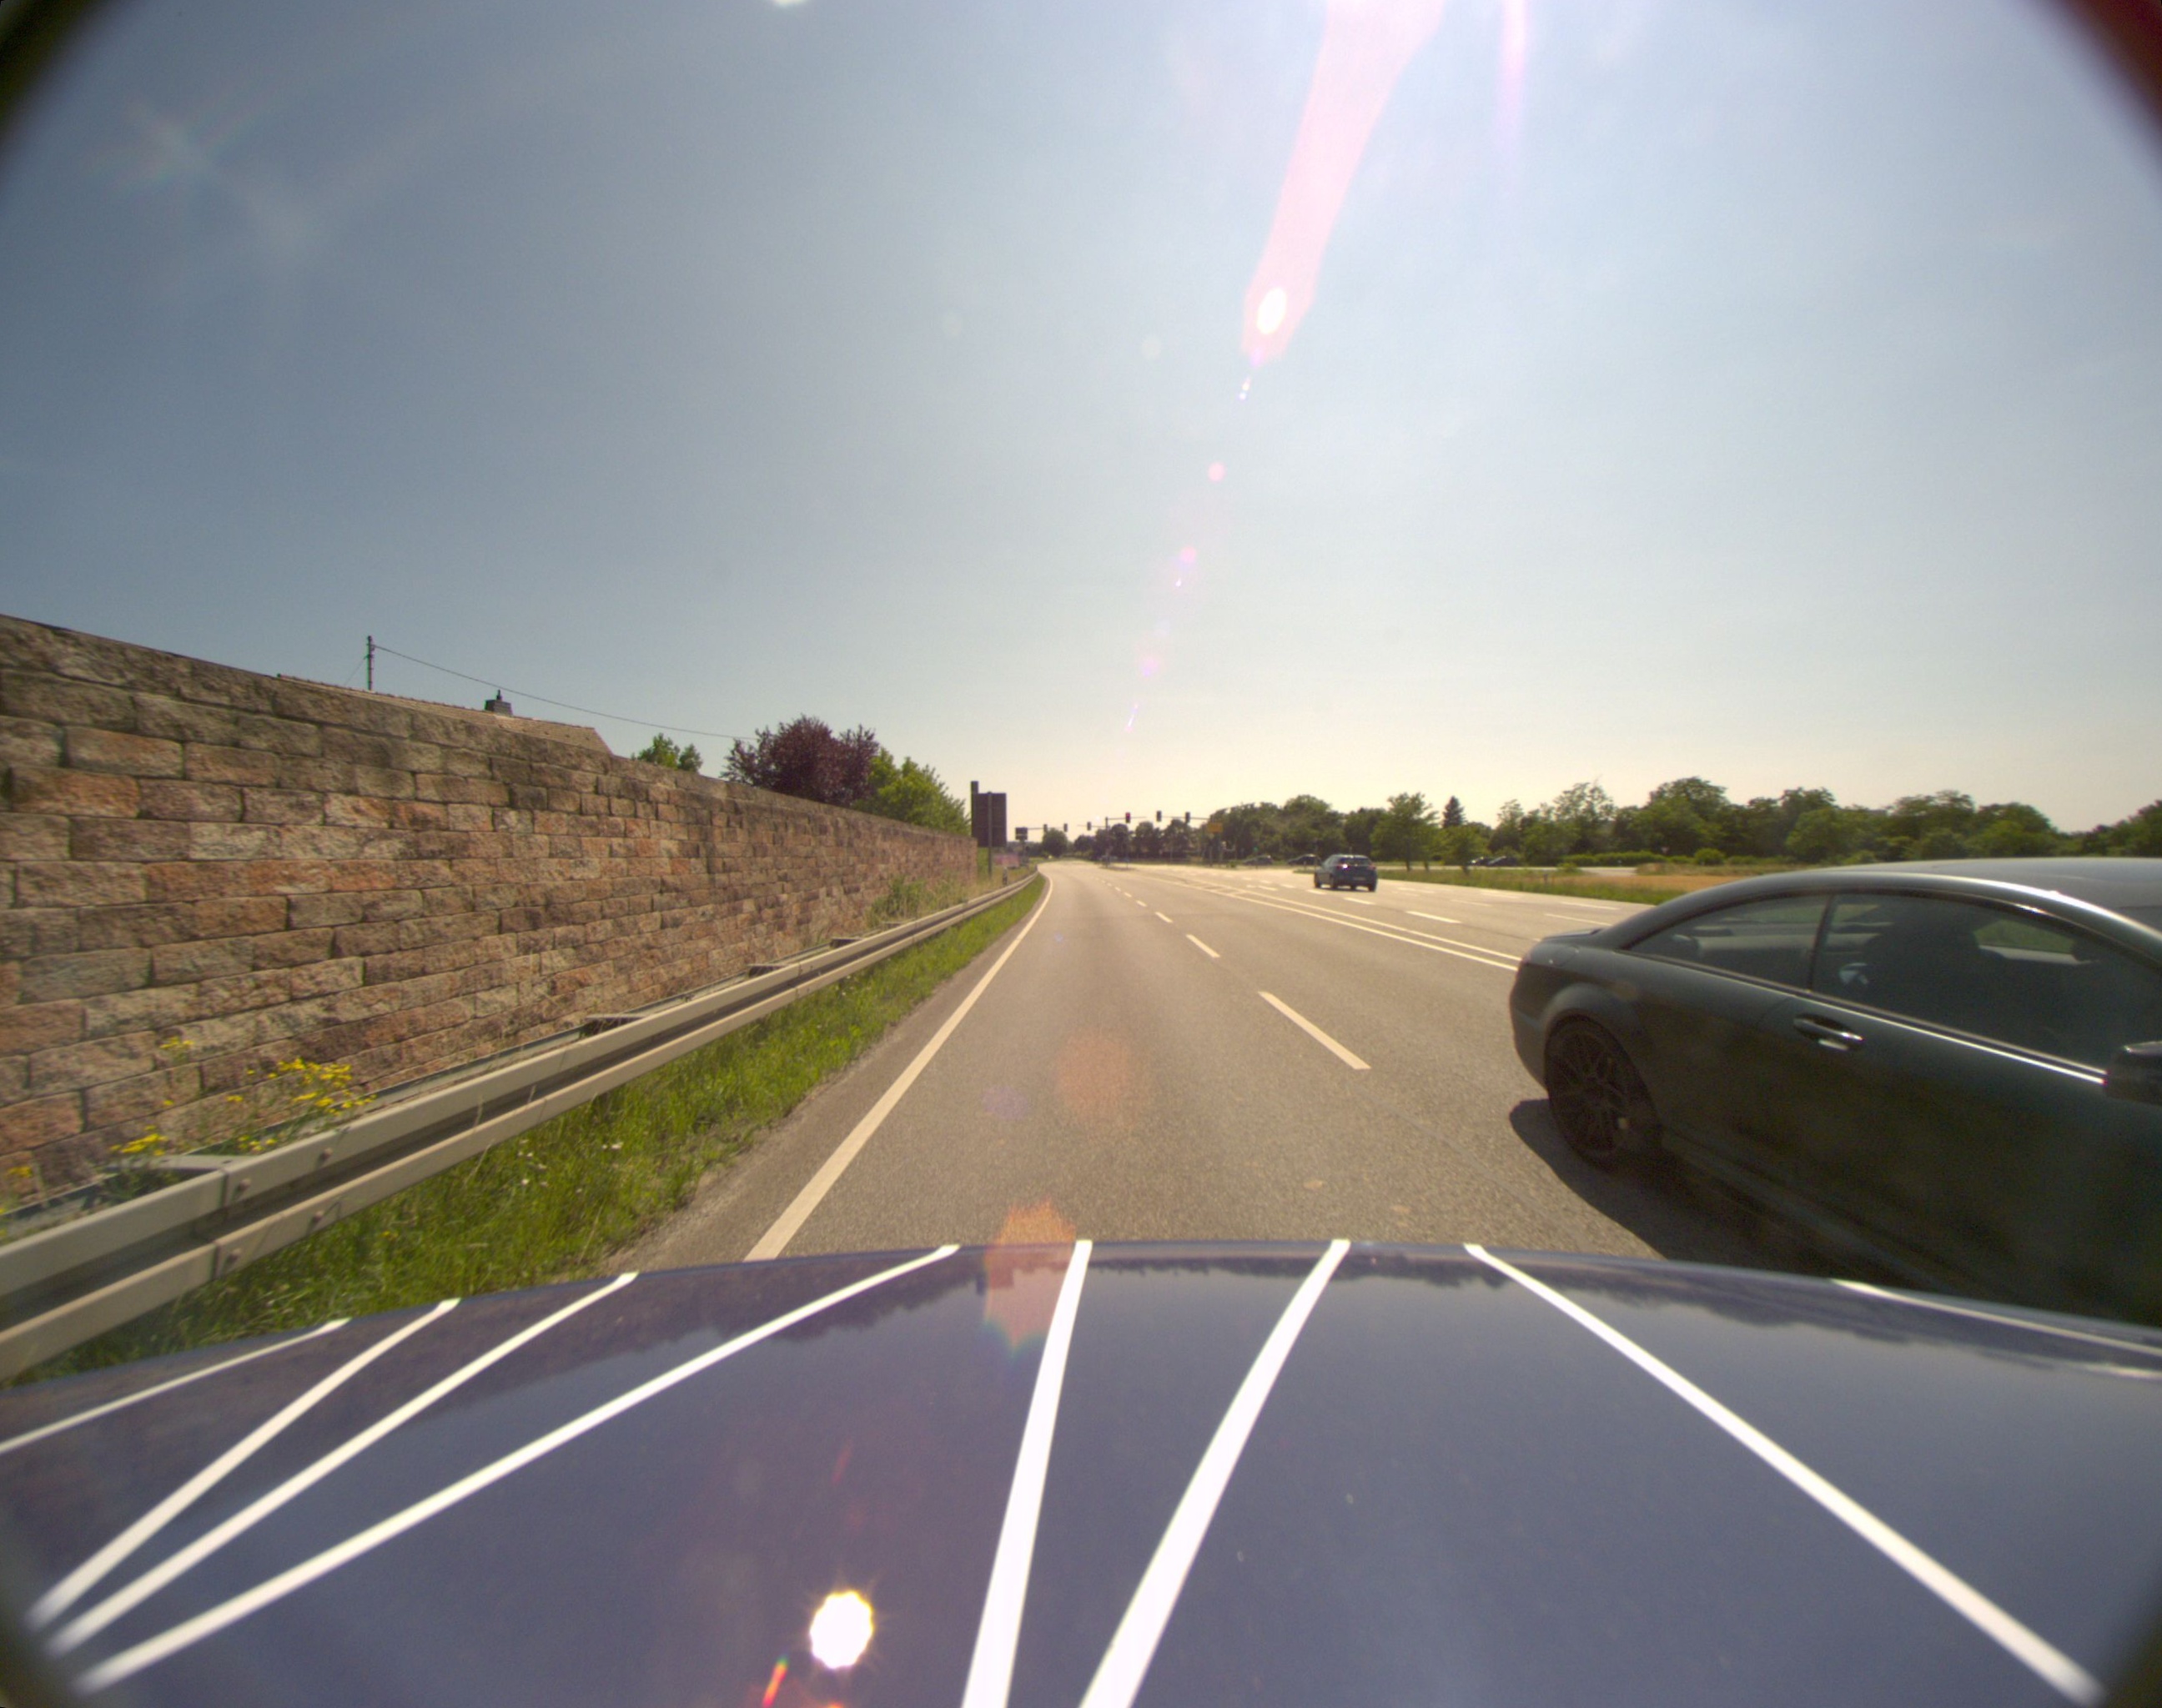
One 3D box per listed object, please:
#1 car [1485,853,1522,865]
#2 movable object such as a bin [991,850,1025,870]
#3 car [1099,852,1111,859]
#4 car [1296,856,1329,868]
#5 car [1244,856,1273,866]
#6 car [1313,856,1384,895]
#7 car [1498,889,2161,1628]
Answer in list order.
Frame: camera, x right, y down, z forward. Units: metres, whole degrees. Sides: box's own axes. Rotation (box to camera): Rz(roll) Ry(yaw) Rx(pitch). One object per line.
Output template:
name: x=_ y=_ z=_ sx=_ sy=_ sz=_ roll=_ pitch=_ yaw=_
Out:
car: x=56.996 y=0.686 z=102.549 sx=3.992 sy=1.565 sz=1.740 roll=-2 pitch=1 yaw=16
movable object such as a bin: x=-8.996 y=0.736 z=93.570 sx=4.106 sy=2.318 sz=1.276 roll=-2 pitch=1 yaw=-7
car: x=5.156 y=0.336 z=161.945 sx=1.836 sy=1.591 sz=4.302 roll=0 pitch=1 yaw=-7
car: x=32.469 y=1.083 z=106.715 sx=4.361 sy=1.585 sz=1.637 roll=1 pitch=0 yaw=13
car: x=25.321 y=1.004 z=108.367 sx=3.874 sy=1.379 sz=1.636 roll=-1 pitch=0 yaw=11
car: x=11.095 y=0.858 z=31.801 sx=1.763 sy=1.449 sz=4.232 roll=1 pitch=1 yaw=5
car: x=3.249 y=0.943 z=1.834 sx=1.815 sy=1.441 sz=4.877 roll=-2 pitch=0 yaw=0
